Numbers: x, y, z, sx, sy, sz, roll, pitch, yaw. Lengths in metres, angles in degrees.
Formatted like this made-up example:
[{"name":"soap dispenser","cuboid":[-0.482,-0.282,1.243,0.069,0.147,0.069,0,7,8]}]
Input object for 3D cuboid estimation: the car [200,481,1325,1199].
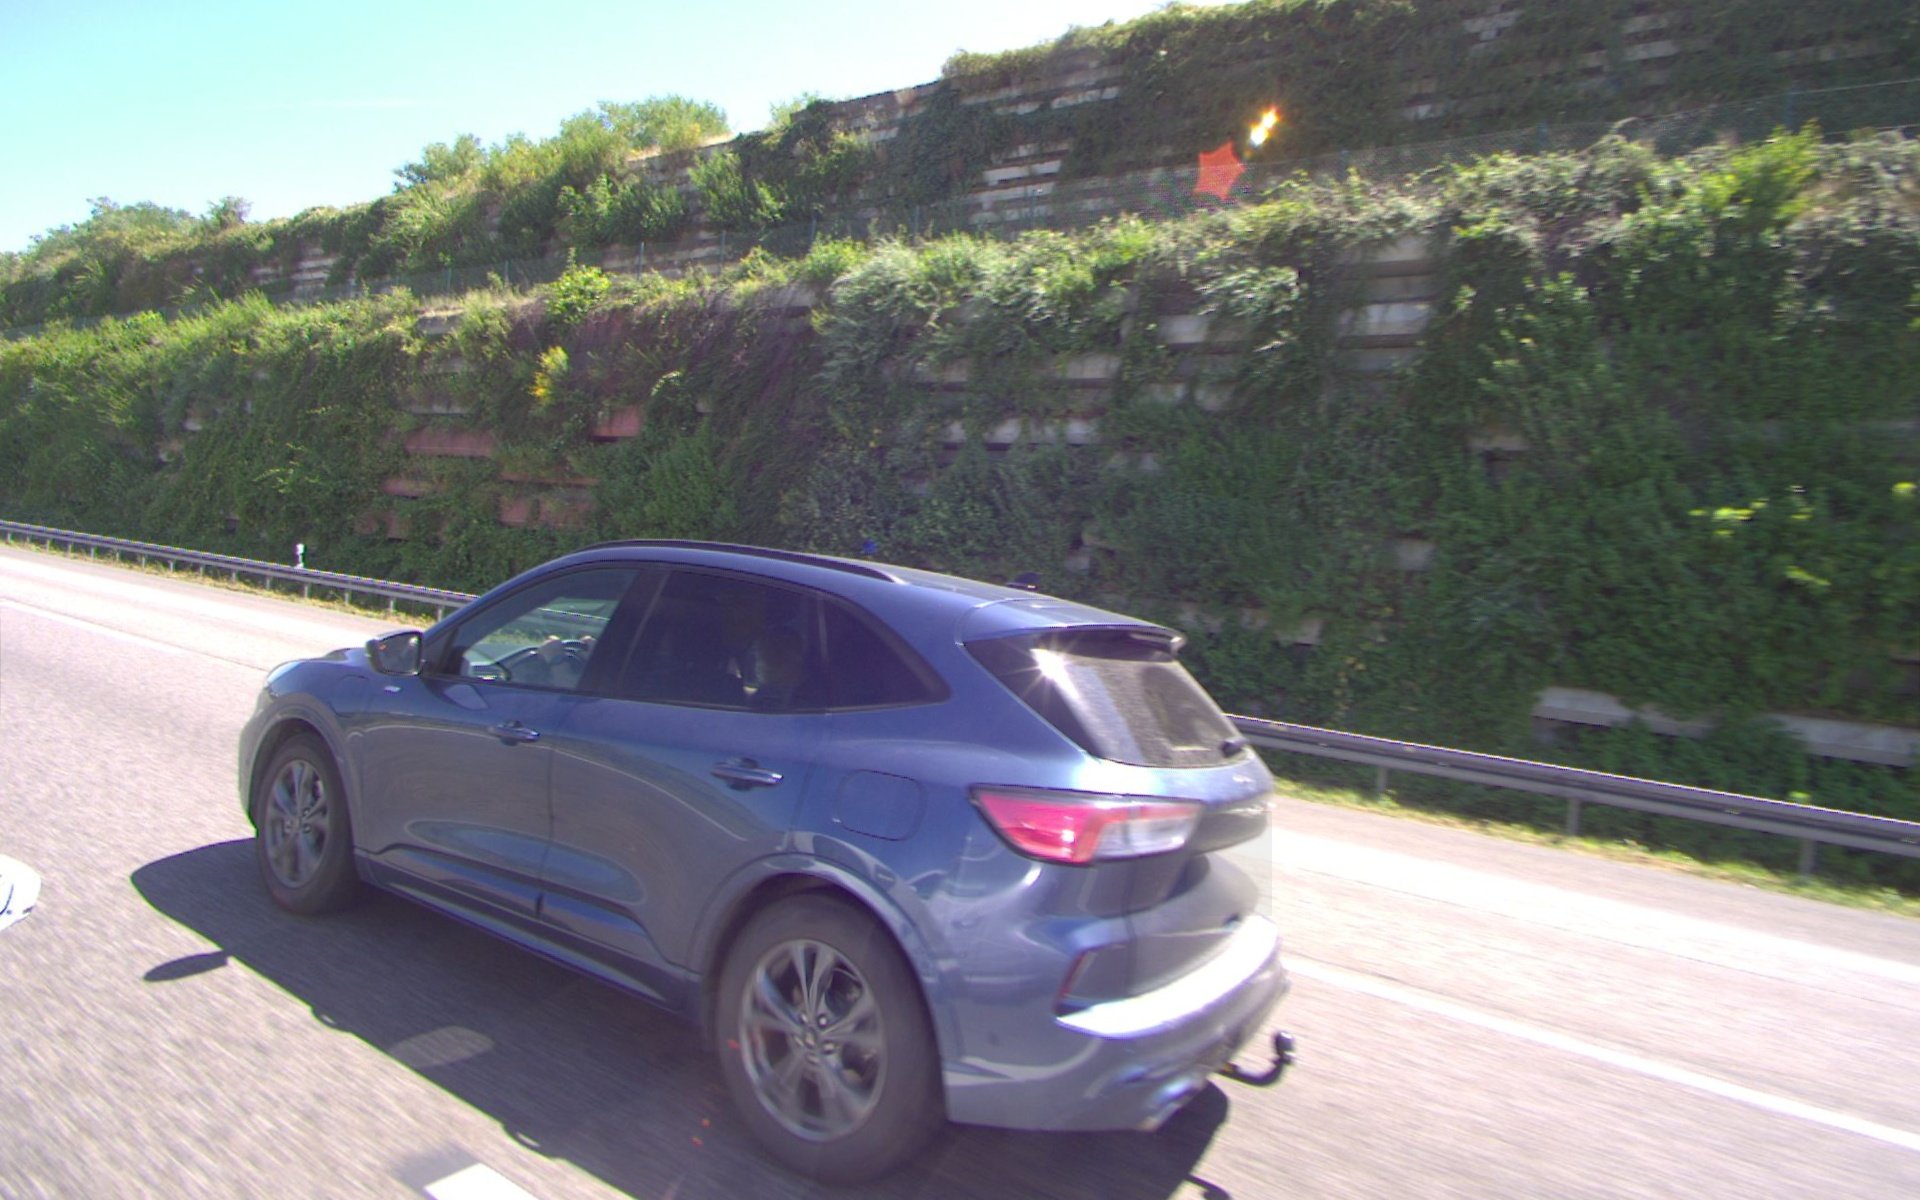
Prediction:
[{"name":"car","cuboid":[-0.944,0.594,3.959,4.069,1.673,1.797,6,-1,31]}]
